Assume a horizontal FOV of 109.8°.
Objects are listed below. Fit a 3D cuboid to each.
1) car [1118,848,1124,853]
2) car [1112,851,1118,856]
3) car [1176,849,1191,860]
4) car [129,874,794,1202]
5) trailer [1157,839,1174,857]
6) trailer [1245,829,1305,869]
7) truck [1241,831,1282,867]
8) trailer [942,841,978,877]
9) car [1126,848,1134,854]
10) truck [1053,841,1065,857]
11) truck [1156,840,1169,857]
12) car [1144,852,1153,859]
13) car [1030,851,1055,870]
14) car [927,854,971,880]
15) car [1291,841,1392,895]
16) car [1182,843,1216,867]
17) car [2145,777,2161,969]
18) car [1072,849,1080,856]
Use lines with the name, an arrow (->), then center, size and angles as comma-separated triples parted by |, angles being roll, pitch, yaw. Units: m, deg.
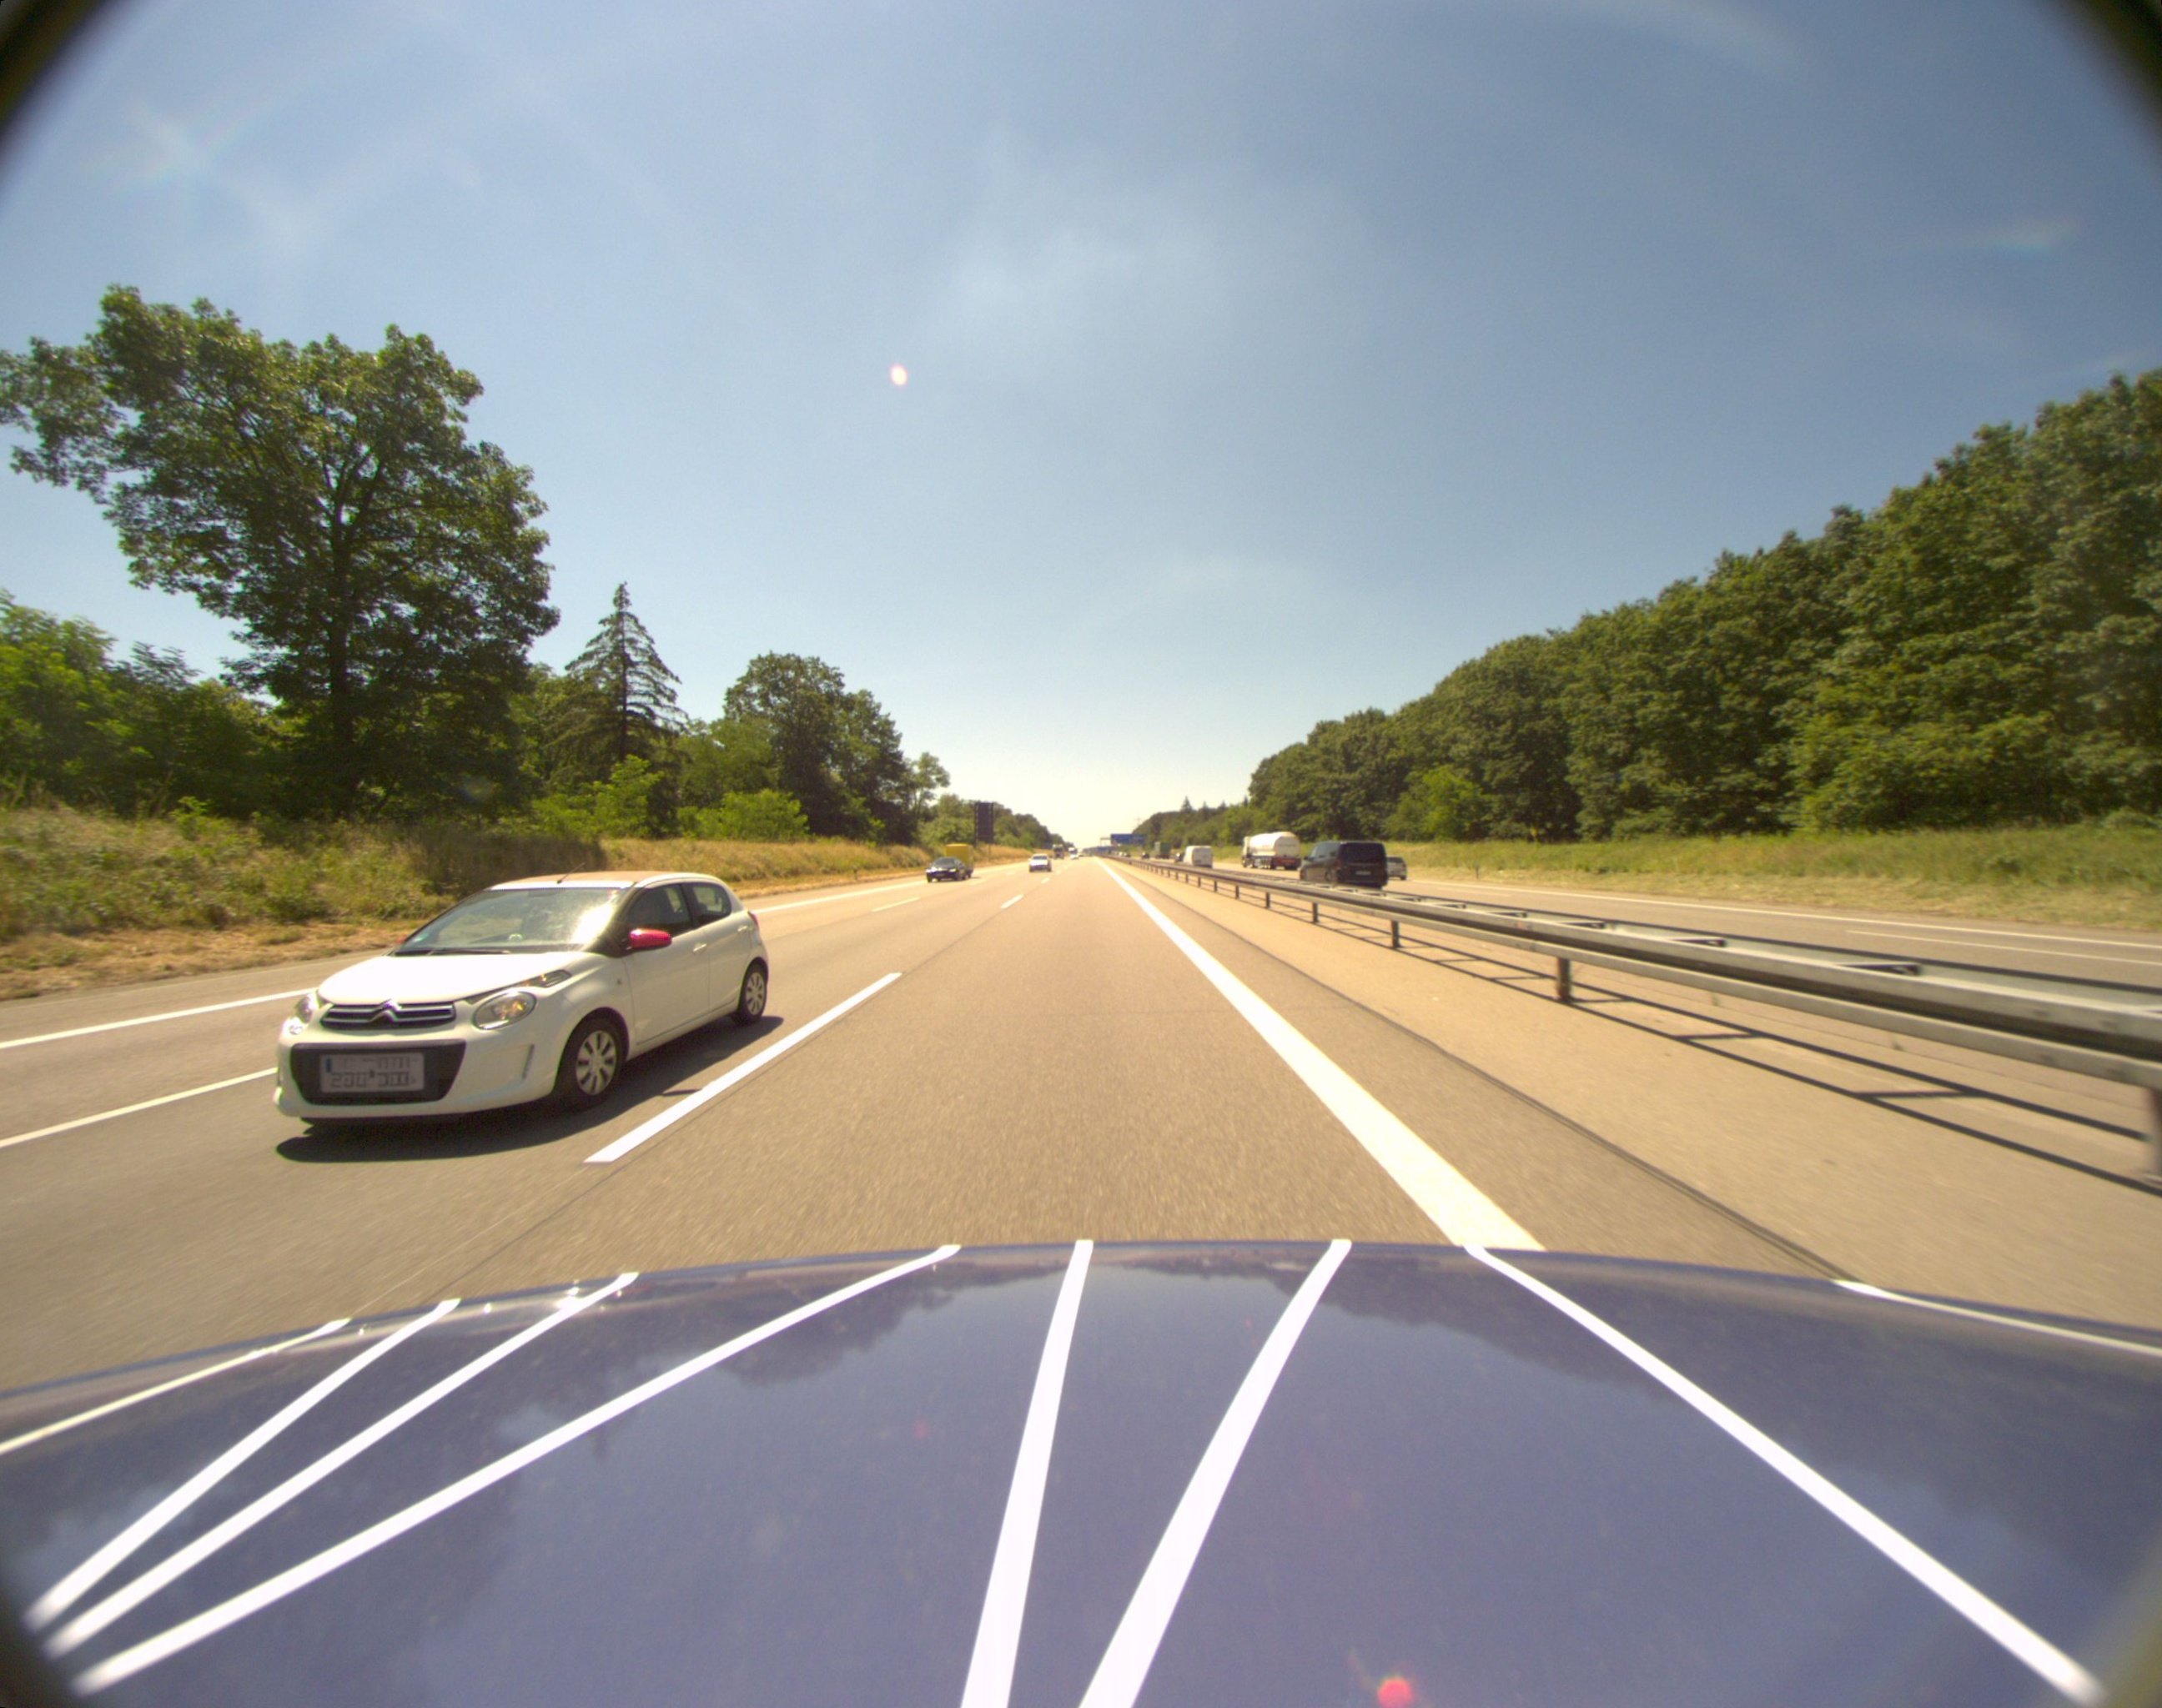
car -> 11.919, -0.947, 226.630 | 1.659, 1.492, 4.600 | 2, 0, 1
car -> 11.828, -0.200, 263.396 | 1.959, 1.782, 5.562 | 2, 0, 1
car -> 15.006, 0.074, 111.567 | 1.637, 1.464, 3.936 | 1, 0, 1
car -> -3.873, 0.982, 5.831 | 1.712, 1.486, 4.024 | -2, 0, 1
trailer -> 20.610, -1.439, 186.062 | 2.711, 4.137, 14.337 | 2, 0, 1
trailer -> 18.161, -0.484, 71.991 | 2.689, 3.414, 11.799 | 1, 0, 1
truck -> 18.237, -0.511, 77.157 | 2.689, 3.414, 6.144 | 1, 1, 1
trailer -> -8.117, 0.341, 51.164 | 1.707, 2.276, 3.839 | -2, 0, 0
car -> 12.249, -0.872, 190.964 | 1.713, 1.402, 5.083 | 2, 1, 1
truck -> -5.593, -1.255, 195.883 | 2.605, 3.811, 5.969 | -2, 0, 1
truck -> 20.687, -1.484, 192.766 | 2.707, 4.137, 6.296 | 2, 1, 1
car -> 15.884, 0.300, 178.436 | 1.678, 1.435, 5.135 | 1, 0, 1
car -> -3.191, 0.517, 63.123 | 1.749, 1.457, 3.980 | -2, 0, 1
car -> -8.054, 0.773, 46.842 | 1.826, 1.447, 4.788 | -2, 0, 0
car -> 9.716, 0.455, 28.909 | 1.881, 1.837, 5.834 | 1, 0, 1
car -> 10.110, 0.044, 65.494 | 2.001, 1.936, 5.741 | 1, 0, 0
car -> 17.127, 0.319, 8.182 | 2.218, 2.841, 6.453 | 1, 0, 0
car -> -1.052, -0.311, 177.086 | 1.796, 1.412, 4.000 | -2, 0, 0
